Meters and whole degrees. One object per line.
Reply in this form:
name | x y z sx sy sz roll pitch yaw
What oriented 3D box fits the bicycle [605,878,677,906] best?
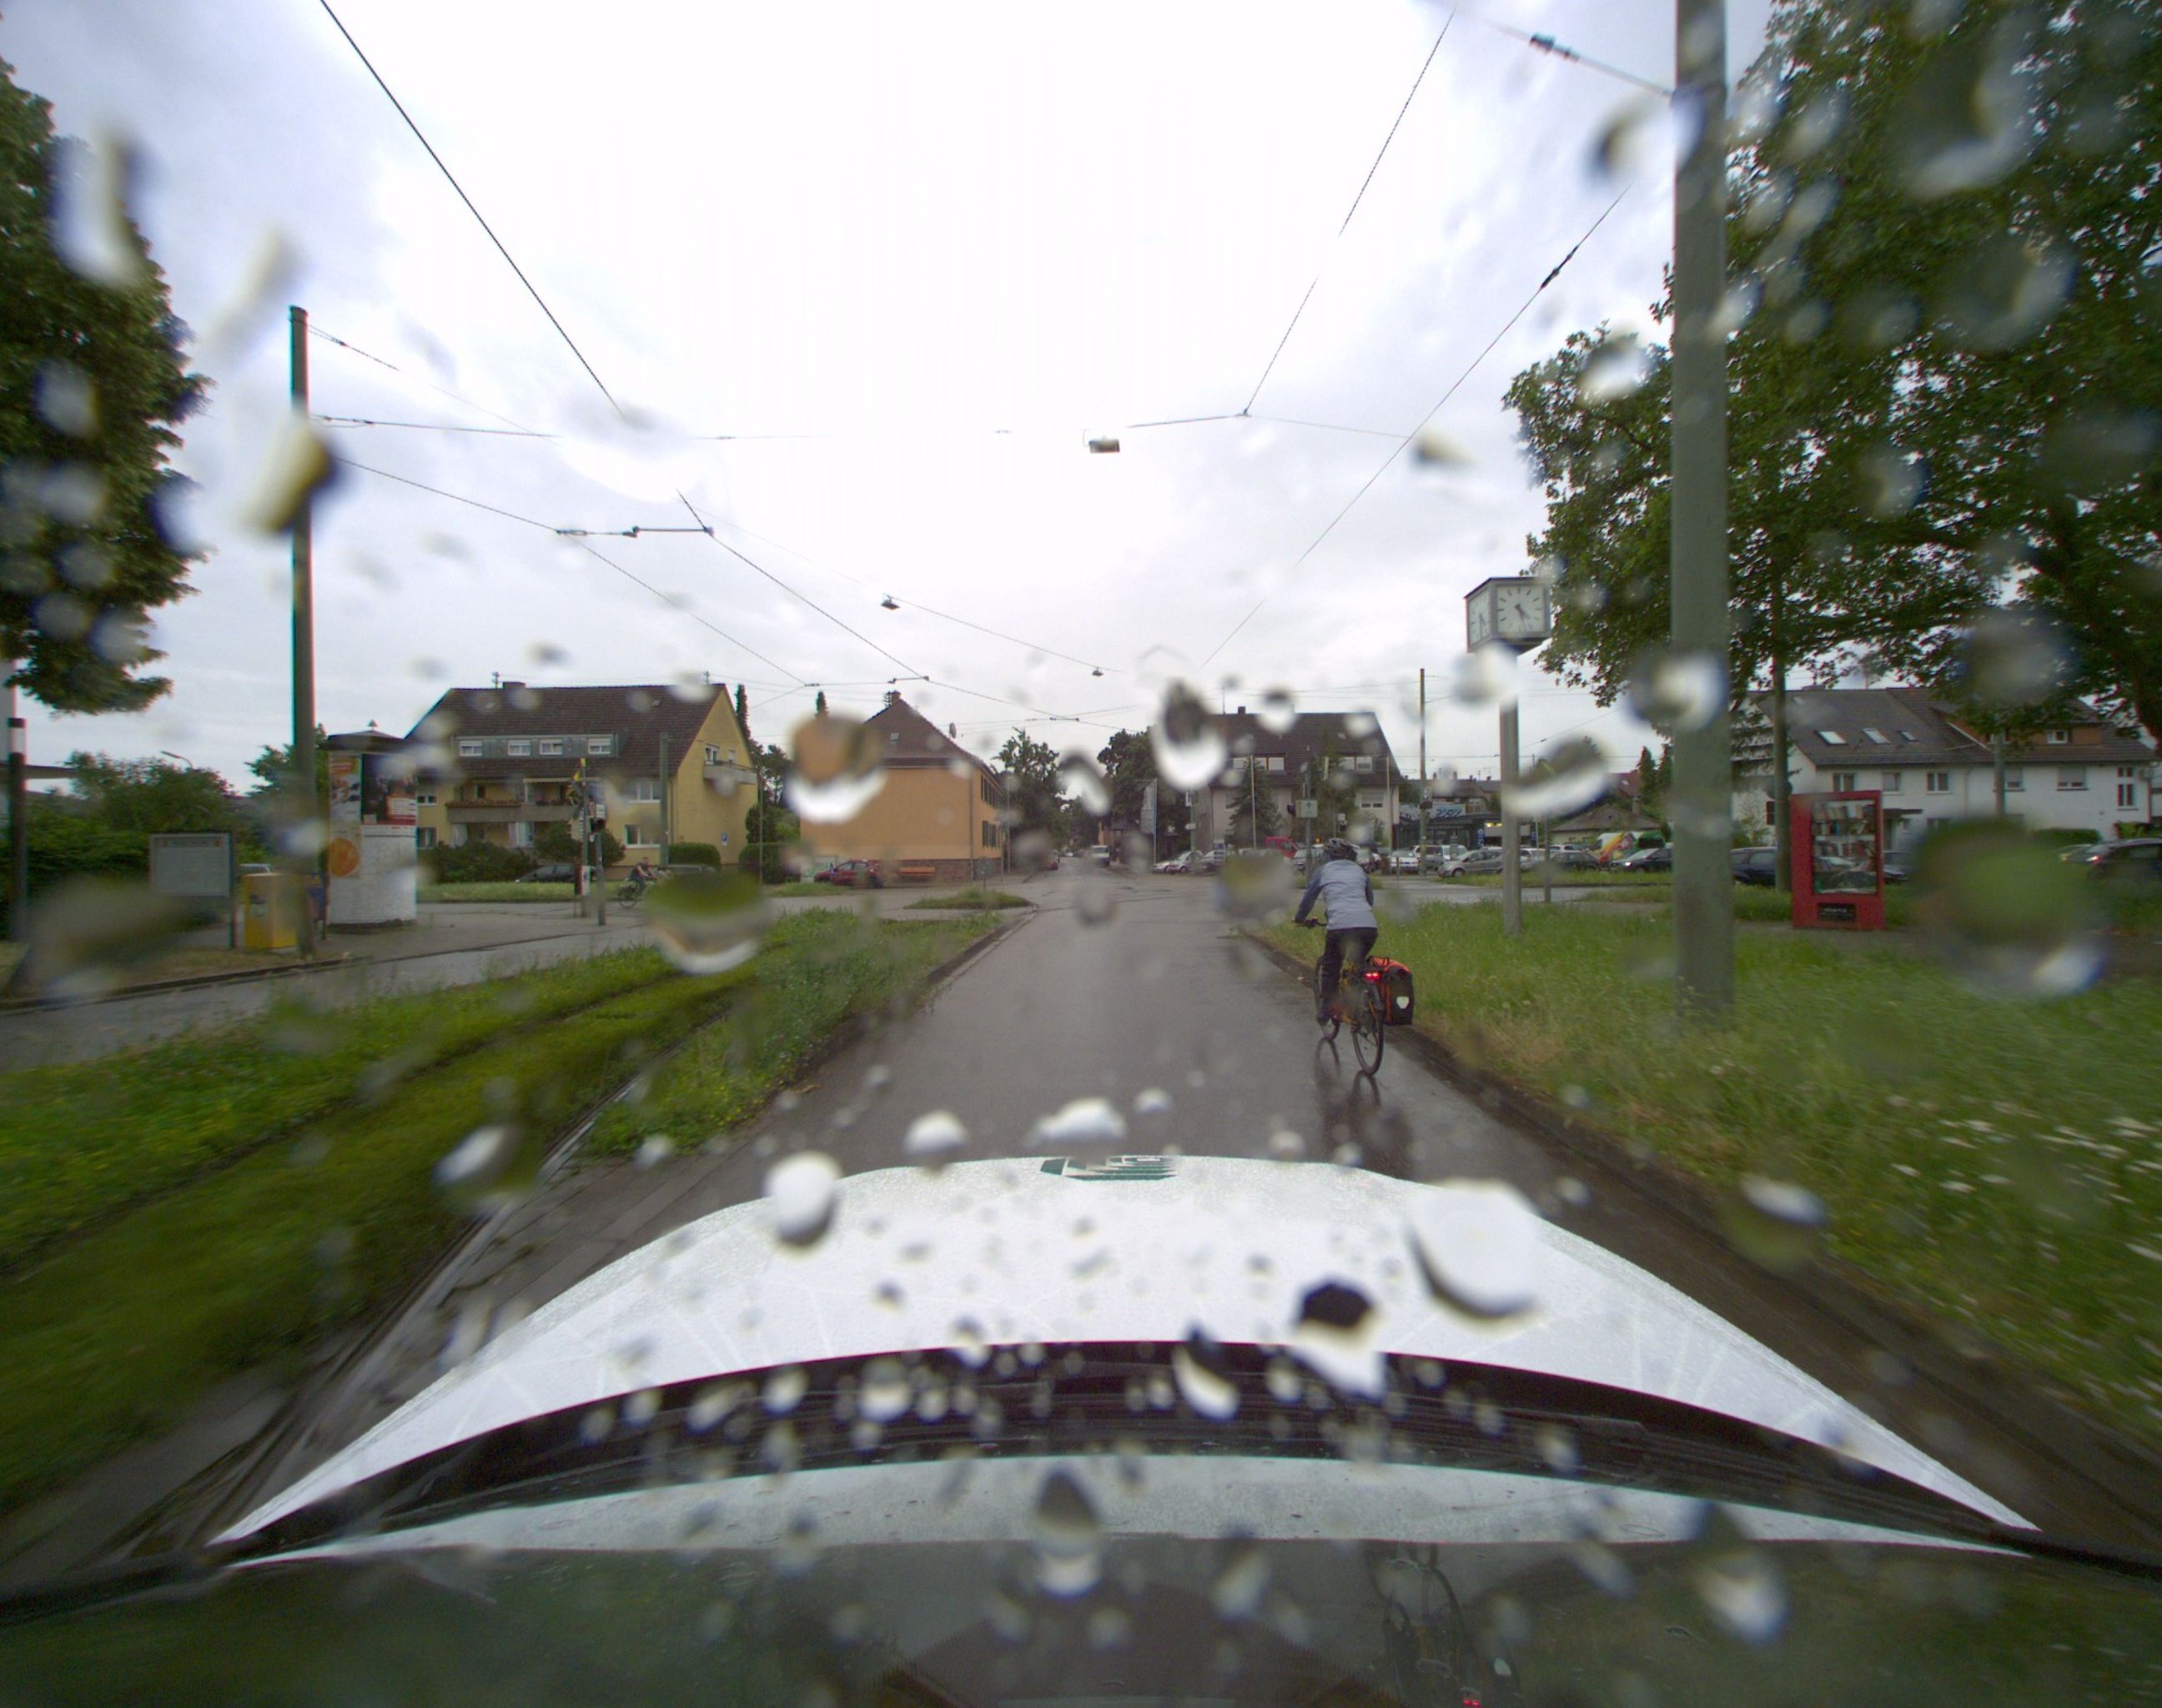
bicycle | -14.889 1.270 27.586 1.974 0.912 0.823 0 -1 -3

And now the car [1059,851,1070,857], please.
car | -4.331 0.006 213.543 1.832 1.697 4.010 1 0 -16

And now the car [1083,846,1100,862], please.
car | 1.343 -0.023 104.576 1.987 2.013 4.000 1 0 0

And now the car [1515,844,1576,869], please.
car | 28.231 0.144 49.648 1.709 1.396 3.846 1 0 4

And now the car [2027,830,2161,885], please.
car | 30.299 0.137 23.667 1.761 1.506 3.478 1 -3 -35

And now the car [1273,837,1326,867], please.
car | 13.391 -0.106 49.785 1.974 1.717 4.026 -2 0 33

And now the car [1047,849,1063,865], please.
car | -3.441 0.398 109.483 1.987 2.013 4.000 1 0 0

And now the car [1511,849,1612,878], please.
car | 25.372 0.497 43.088 4.359 1.339 1.723 2 0 1

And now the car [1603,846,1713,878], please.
car | 28.242 0.388 39.951 3.975 1.476 1.999 -1 0 -1

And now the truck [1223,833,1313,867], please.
truck | 13.398 -0.241 58.321 6.032 2.272 2.010 -1 -1 20

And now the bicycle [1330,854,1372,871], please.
bicycle | 13.619 0.410 41.142 1.808 0.786 0.942 -2 0 -1

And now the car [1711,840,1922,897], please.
car | 20.973 0.388 23.405 1.809 1.476 4.138 -1 0 -29

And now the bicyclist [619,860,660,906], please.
bicyclist | -14.949 0.970 27.593 0.908 1.558 0.833 0 -1 -2

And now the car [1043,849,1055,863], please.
car | -4.964 0.329 125.886 1.823 2.013 3.997 1 0 -2

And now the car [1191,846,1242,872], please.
car | 8.653 0.302 51.787 1.784 1.578 3.897 -2 0 33

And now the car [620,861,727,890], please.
car | -20.971 1.089 42.046 4.478 1.396 1.966 -1 0 -2

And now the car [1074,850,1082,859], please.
car | -0.770 0.131 189.818 1.823 2.013 3.997 1 0 -2

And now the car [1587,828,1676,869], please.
car | 34.470 -0.346 51.231 2.138 2.406 5.149 1 0 1

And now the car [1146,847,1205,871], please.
car | 6.807 0.371 58.667 3.871 1.578 1.796 -2 0 -19

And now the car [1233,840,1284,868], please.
car | 10.995 -0.022 50.363 1.784 1.578 3.897 -2 0 33

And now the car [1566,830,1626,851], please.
car | 41.555 -1.085 65.677 4.449 1.580 1.781 -1 -1 -21

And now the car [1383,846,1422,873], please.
car | 19.468 0.332 49.436 1.813 1.504 4.076 1 0 17

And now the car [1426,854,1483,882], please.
car | 22.561 0.789 49.348 1.795 1.578 3.874 -2 0 2

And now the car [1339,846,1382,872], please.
car | 17.076 0.293 49.627 1.810 1.504 4.083 1 0 29

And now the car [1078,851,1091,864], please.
car | 0.534 0.526 125.297 1.823 2.013 3.999 1 0 -1

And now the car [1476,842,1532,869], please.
car | 25.704 0.089 49.605 1.709 1.573 3.621 1 0 4

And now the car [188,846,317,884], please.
car | -40.617 0.529 40.020 3.983 1.794 1.995 1 0 -7

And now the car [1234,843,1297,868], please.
car | 12.586 0.126 55.551 3.932 1.598 2.010 -1 -1 20

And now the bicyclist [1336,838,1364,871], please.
bicyclist | 13.571 0.026 41.135 1.036 1.598 0.949 -2 0 -1

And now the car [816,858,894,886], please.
car | -11.826 0.926 42.785 3.596 1.339 1.721 1 0 -2

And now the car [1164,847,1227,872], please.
car | 7.791 0.342 55.463 3.874 1.578 1.794 -2 0 -22

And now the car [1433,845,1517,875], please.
car | 20.764 0.296 43.010 3.622 1.504 1.722 1 0 -2

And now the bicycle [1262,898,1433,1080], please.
bicycle | 1.969 0.941 6.326 0.749 1.073 1.928 -2 0 3

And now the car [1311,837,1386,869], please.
car | 17.796 -0.032 54.341 4.414 2.014 2.001 -1 -1 2

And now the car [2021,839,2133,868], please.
car | 52.307 -0.018 42.802 3.917 1.423 1.606 1 0 1

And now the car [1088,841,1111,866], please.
car | 1.965 -0.023 87.256 2.147 2.572 4.131 1 0 -2

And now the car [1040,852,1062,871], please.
car | -2.750 0.697 75.109 1.988 1.618 3.997 -1 0 -2

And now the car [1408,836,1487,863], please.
car | 24.208 -0.276 53.862 4.414 1.687 1.761 -1 -1 2

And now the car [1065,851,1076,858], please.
car | -2.630 0.052 208.108 1.832 1.697 4.010 1 0 -16

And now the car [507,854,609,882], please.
car | -26.769 0.687 41.767 3.977 1.332 1.758 1 0 -3

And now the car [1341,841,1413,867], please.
car | 20.909 0.029 57.699 4.414 1.687 2.001 -1 -1 2

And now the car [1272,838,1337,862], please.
car | 16.808 -0.251 61.427 4.414 1.687 2.001 -1 -1 2

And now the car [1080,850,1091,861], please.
car | 0.760 0.263 144.428 1.823 2.013 3.997 1 0 -2

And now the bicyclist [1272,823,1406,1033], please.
bicyclist | 1.950 0.533 6.280 0.748 1.485 0.847 -2 0 3

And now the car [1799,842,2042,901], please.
car | 23.866 0.458 23.387 1.807 1.476 4.512 -1 0 -25
